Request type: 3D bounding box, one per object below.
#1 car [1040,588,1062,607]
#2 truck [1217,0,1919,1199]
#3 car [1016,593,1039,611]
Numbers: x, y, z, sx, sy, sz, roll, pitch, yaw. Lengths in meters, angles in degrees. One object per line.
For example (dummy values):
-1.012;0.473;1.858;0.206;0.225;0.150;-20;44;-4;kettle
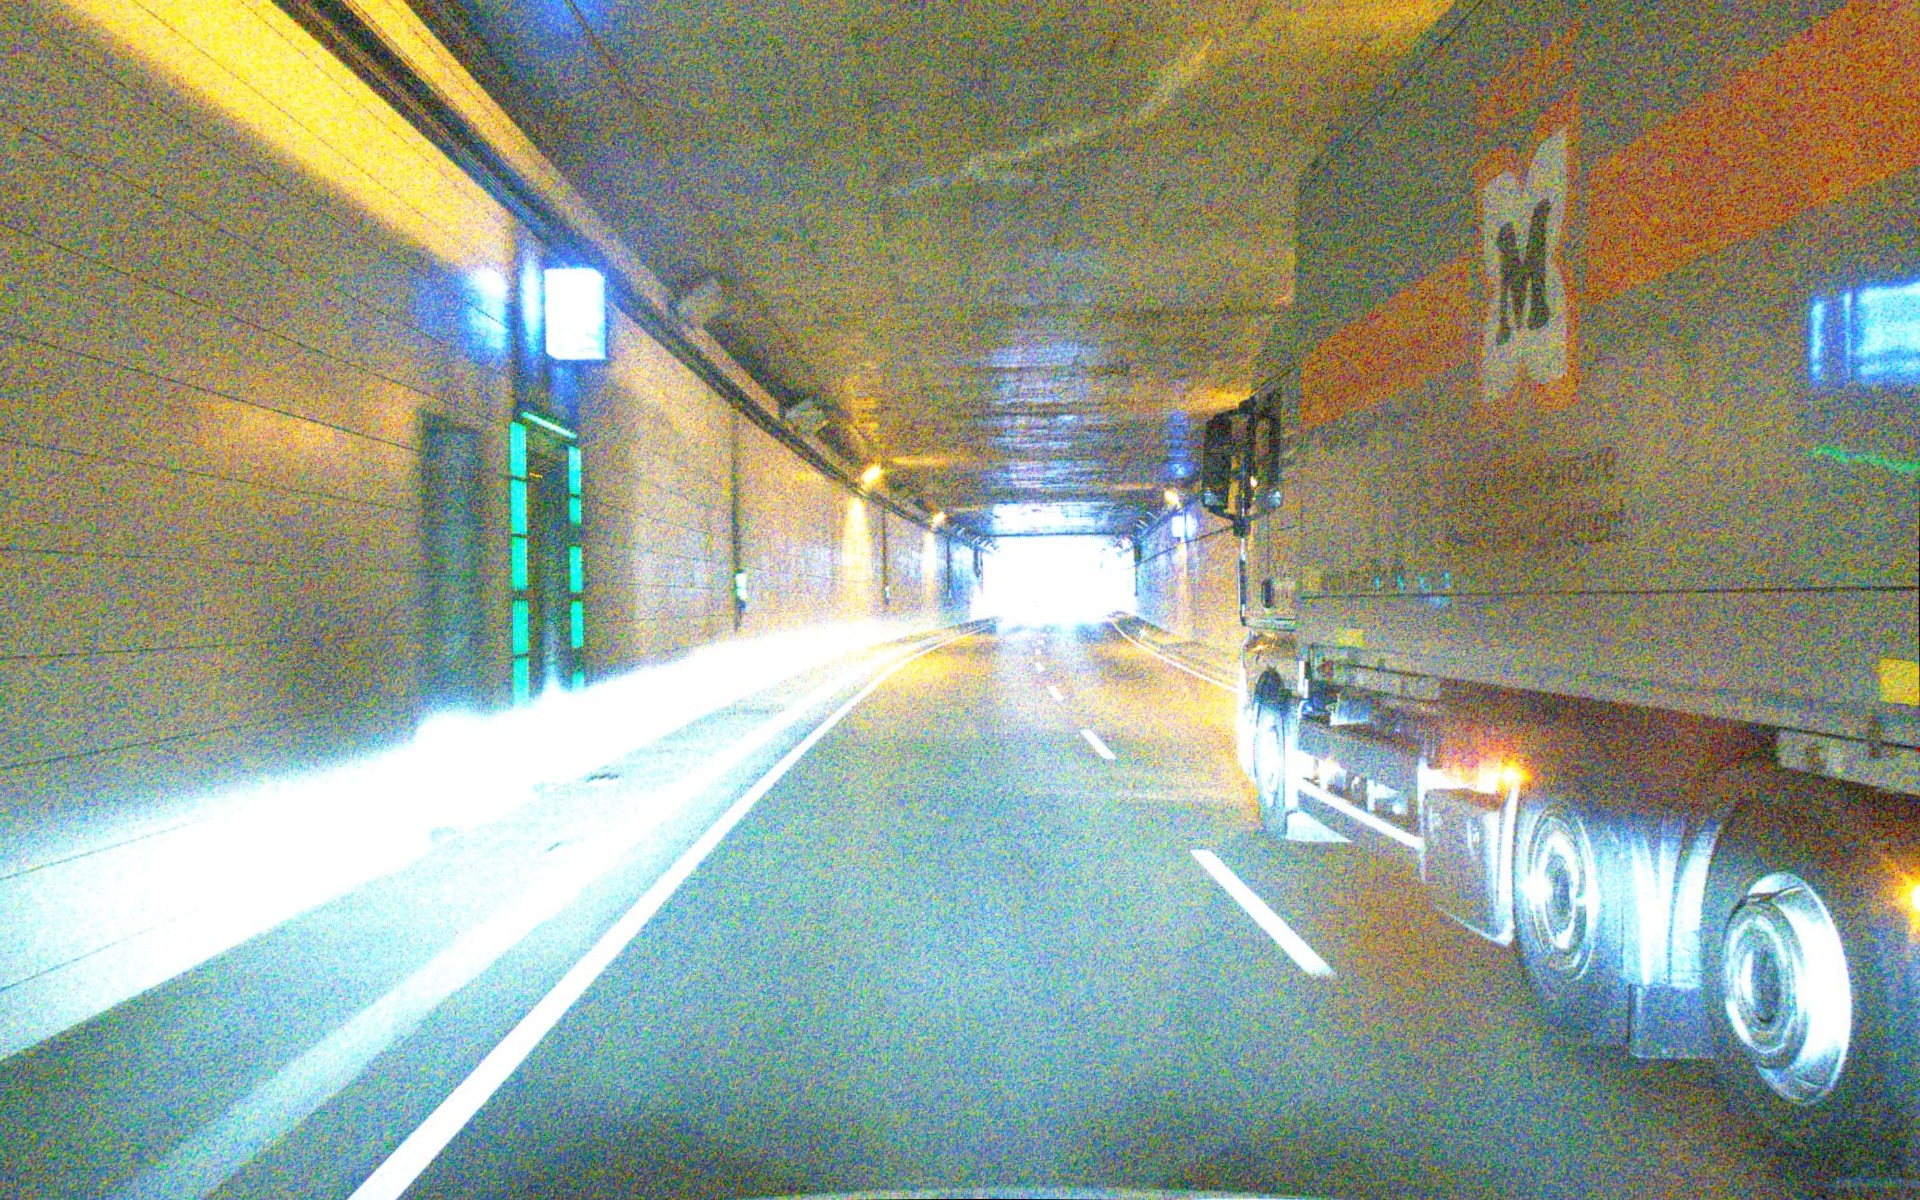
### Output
8.432;-0.231;153.464;1.831;1.763;4.001;-1;0;1;car
3.377;-0.531;7.055;2.830;3.982;9.907;-1;0;-1;truck
5.559;0.137;135.418;1.803;1.413;4.001;-1;0;3;car
